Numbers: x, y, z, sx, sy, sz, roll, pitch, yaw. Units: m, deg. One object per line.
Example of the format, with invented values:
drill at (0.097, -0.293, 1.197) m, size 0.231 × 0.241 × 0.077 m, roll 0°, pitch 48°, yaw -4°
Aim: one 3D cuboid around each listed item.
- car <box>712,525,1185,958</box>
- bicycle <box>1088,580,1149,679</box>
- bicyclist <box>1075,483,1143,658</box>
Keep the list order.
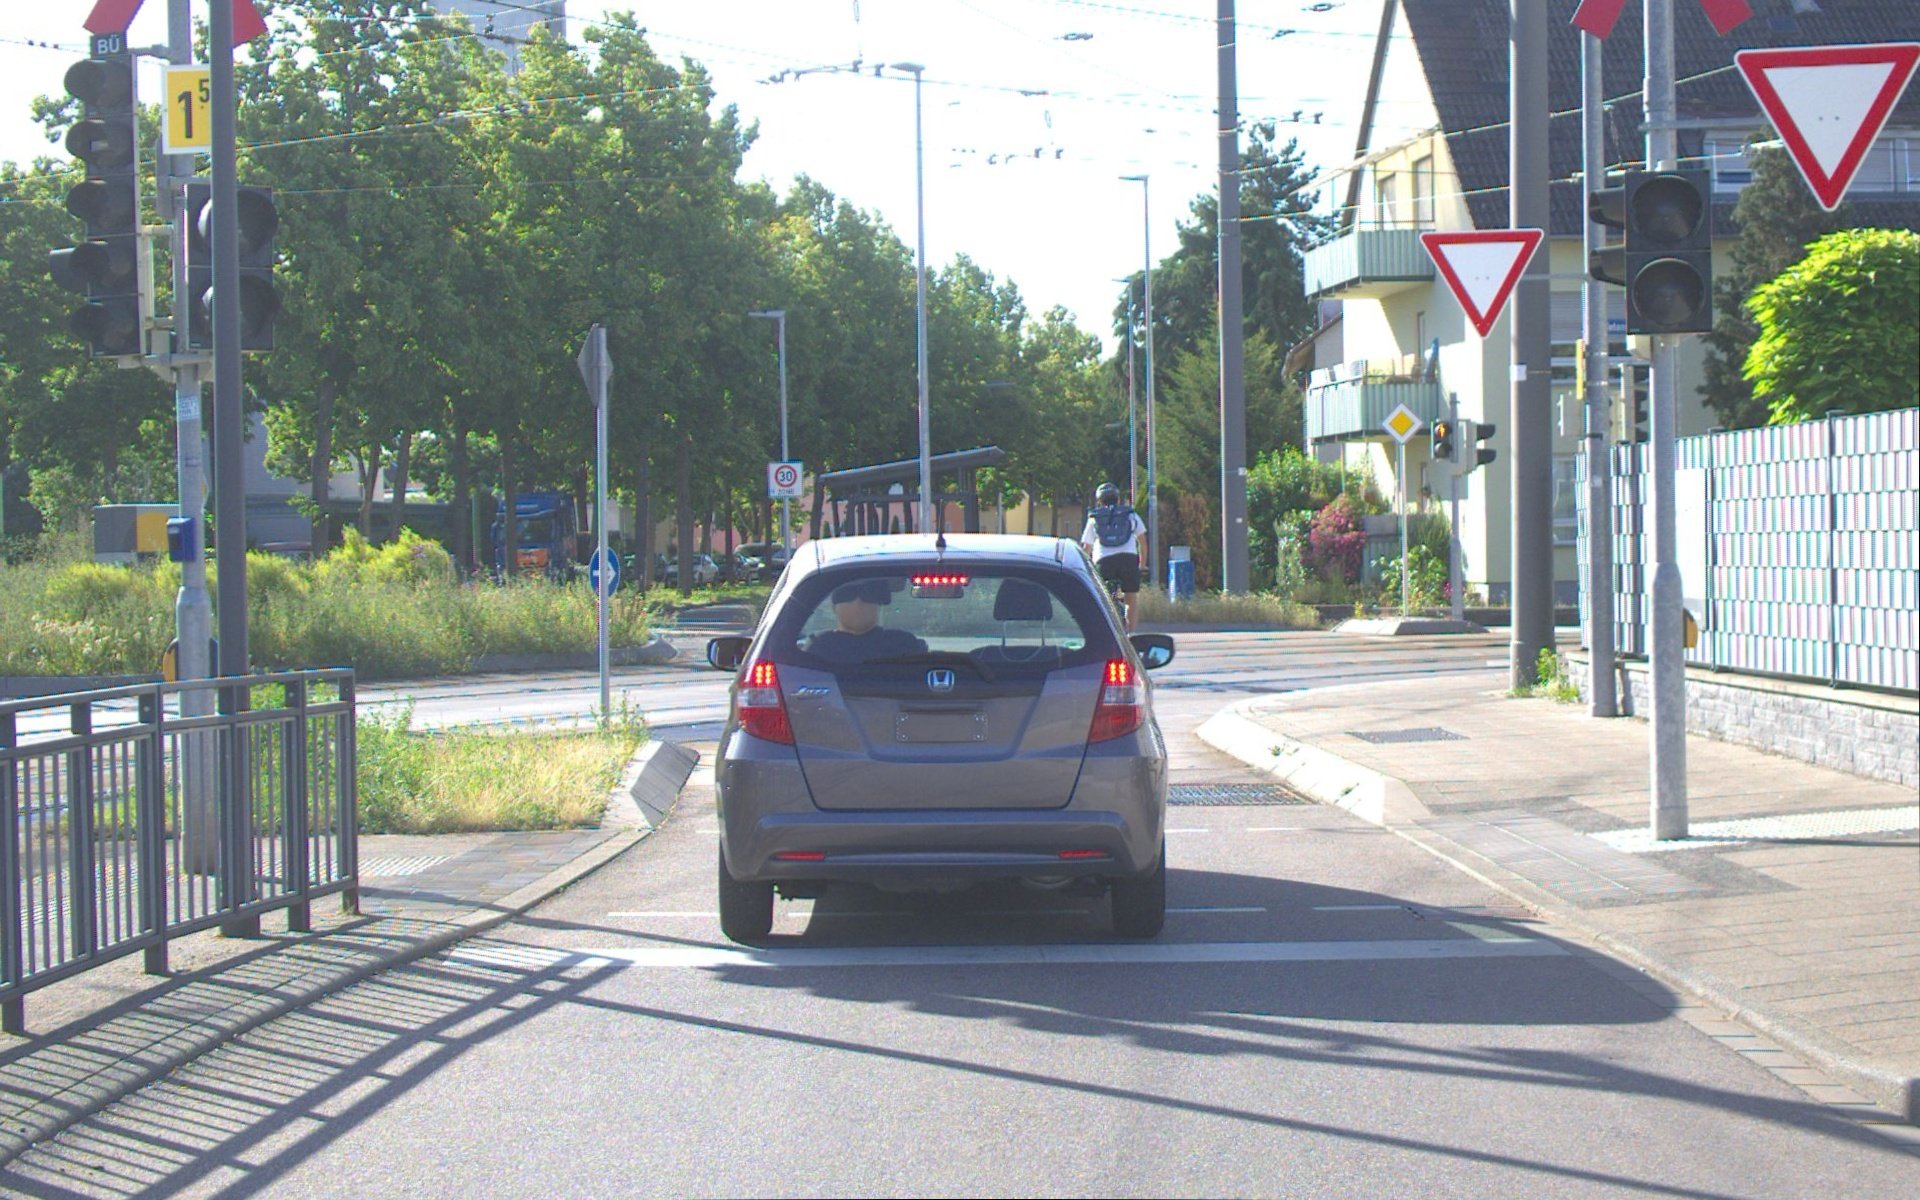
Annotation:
car at (-0.118, 0.476, 13.926) m, size 1.670 × 1.530 × 3.487 m, roll 0°, pitch 1°, yaw -3°
bicycle at (1.555, 0.279, 33.960) m, size 0.475 × 0.958 × 1.657 m, roll 0°, pitch 0°, yaw -1°
bicyclist at (1.458, -0.288, 33.694) m, size 0.598 × 1.695 × 0.683 m, roll 0°, pitch 0°, yaw -1°
